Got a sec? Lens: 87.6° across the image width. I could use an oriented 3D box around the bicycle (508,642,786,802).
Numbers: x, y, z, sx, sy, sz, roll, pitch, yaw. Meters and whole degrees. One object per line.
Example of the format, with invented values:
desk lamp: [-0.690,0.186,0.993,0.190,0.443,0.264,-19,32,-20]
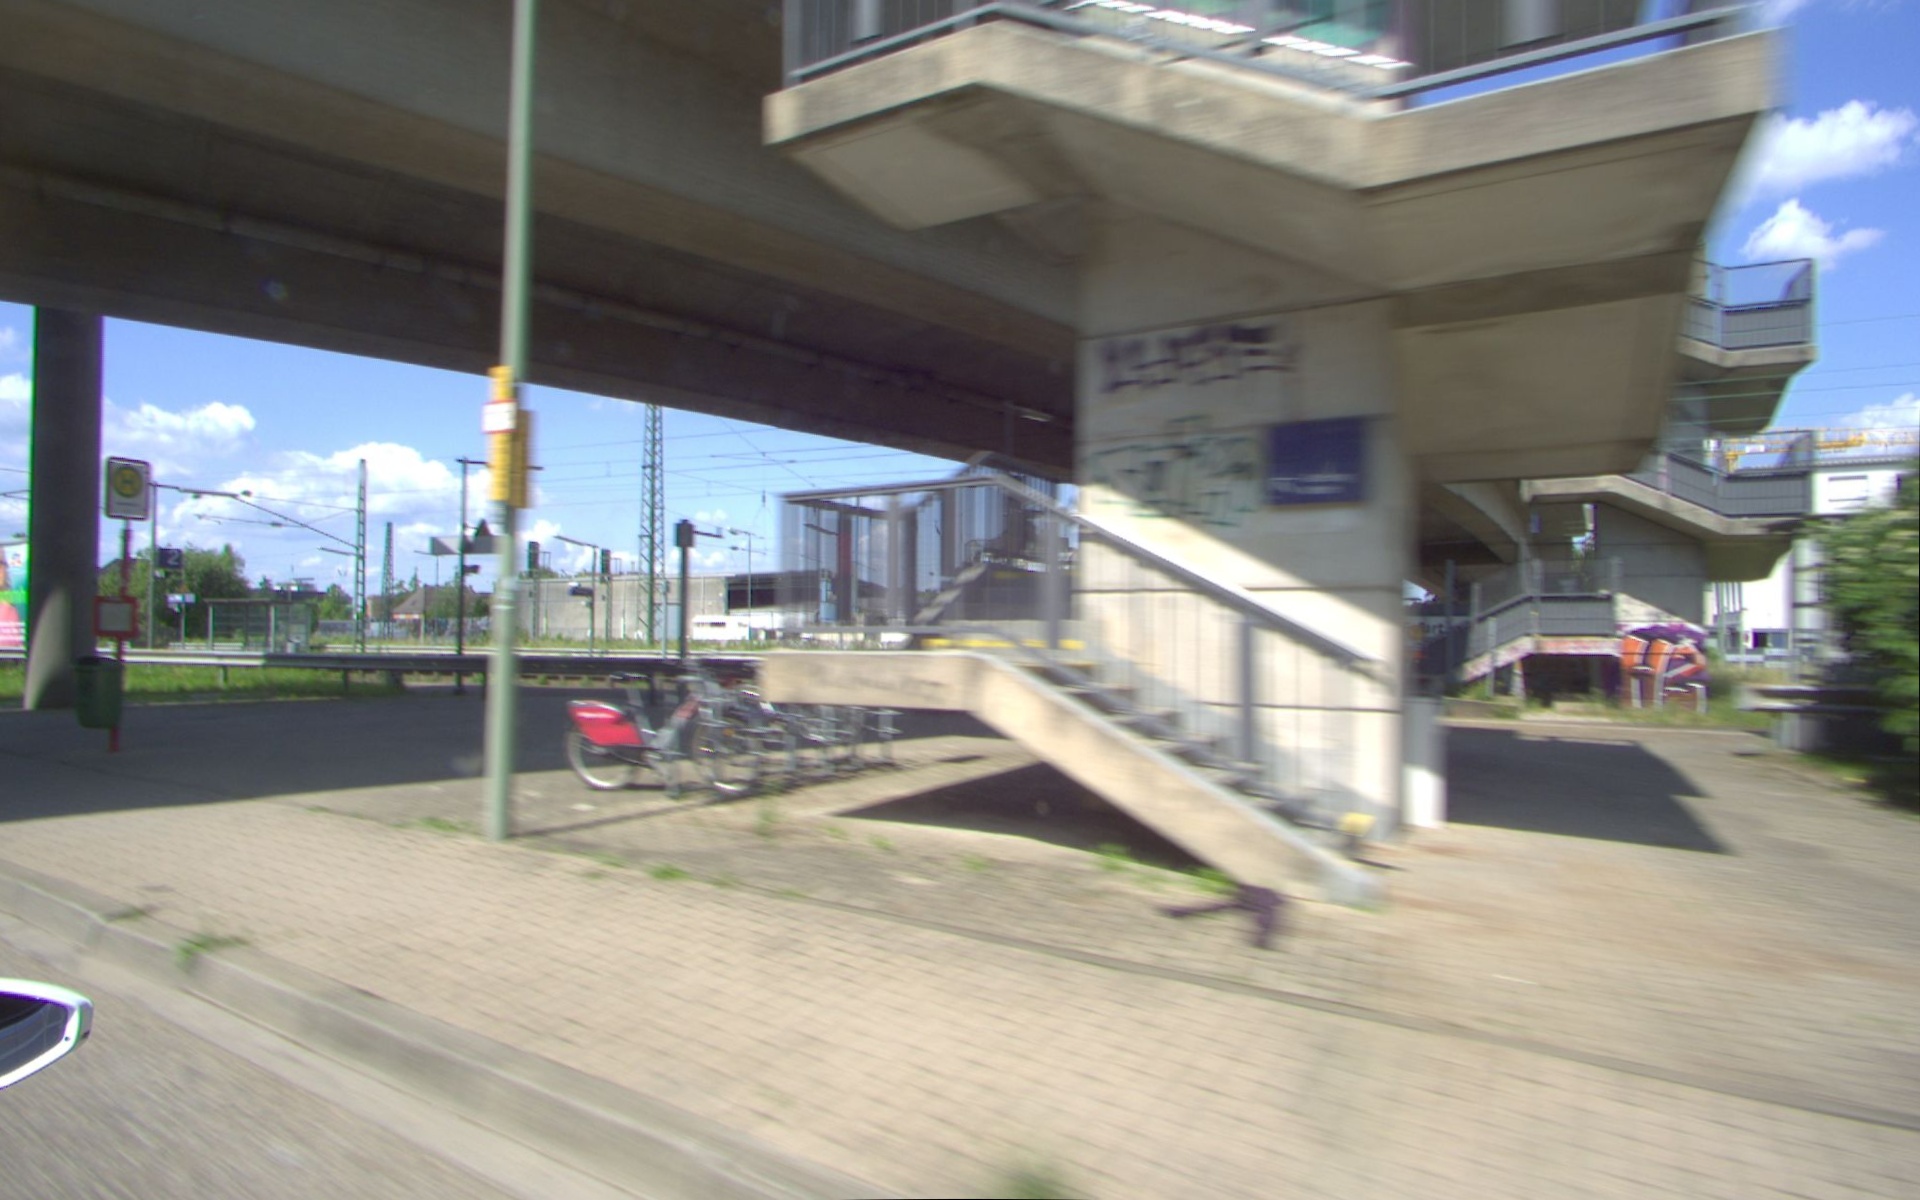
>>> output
bicycle: [-2.485,0.911,7.925,2.153,1.122,0.643,0,-1,20]
